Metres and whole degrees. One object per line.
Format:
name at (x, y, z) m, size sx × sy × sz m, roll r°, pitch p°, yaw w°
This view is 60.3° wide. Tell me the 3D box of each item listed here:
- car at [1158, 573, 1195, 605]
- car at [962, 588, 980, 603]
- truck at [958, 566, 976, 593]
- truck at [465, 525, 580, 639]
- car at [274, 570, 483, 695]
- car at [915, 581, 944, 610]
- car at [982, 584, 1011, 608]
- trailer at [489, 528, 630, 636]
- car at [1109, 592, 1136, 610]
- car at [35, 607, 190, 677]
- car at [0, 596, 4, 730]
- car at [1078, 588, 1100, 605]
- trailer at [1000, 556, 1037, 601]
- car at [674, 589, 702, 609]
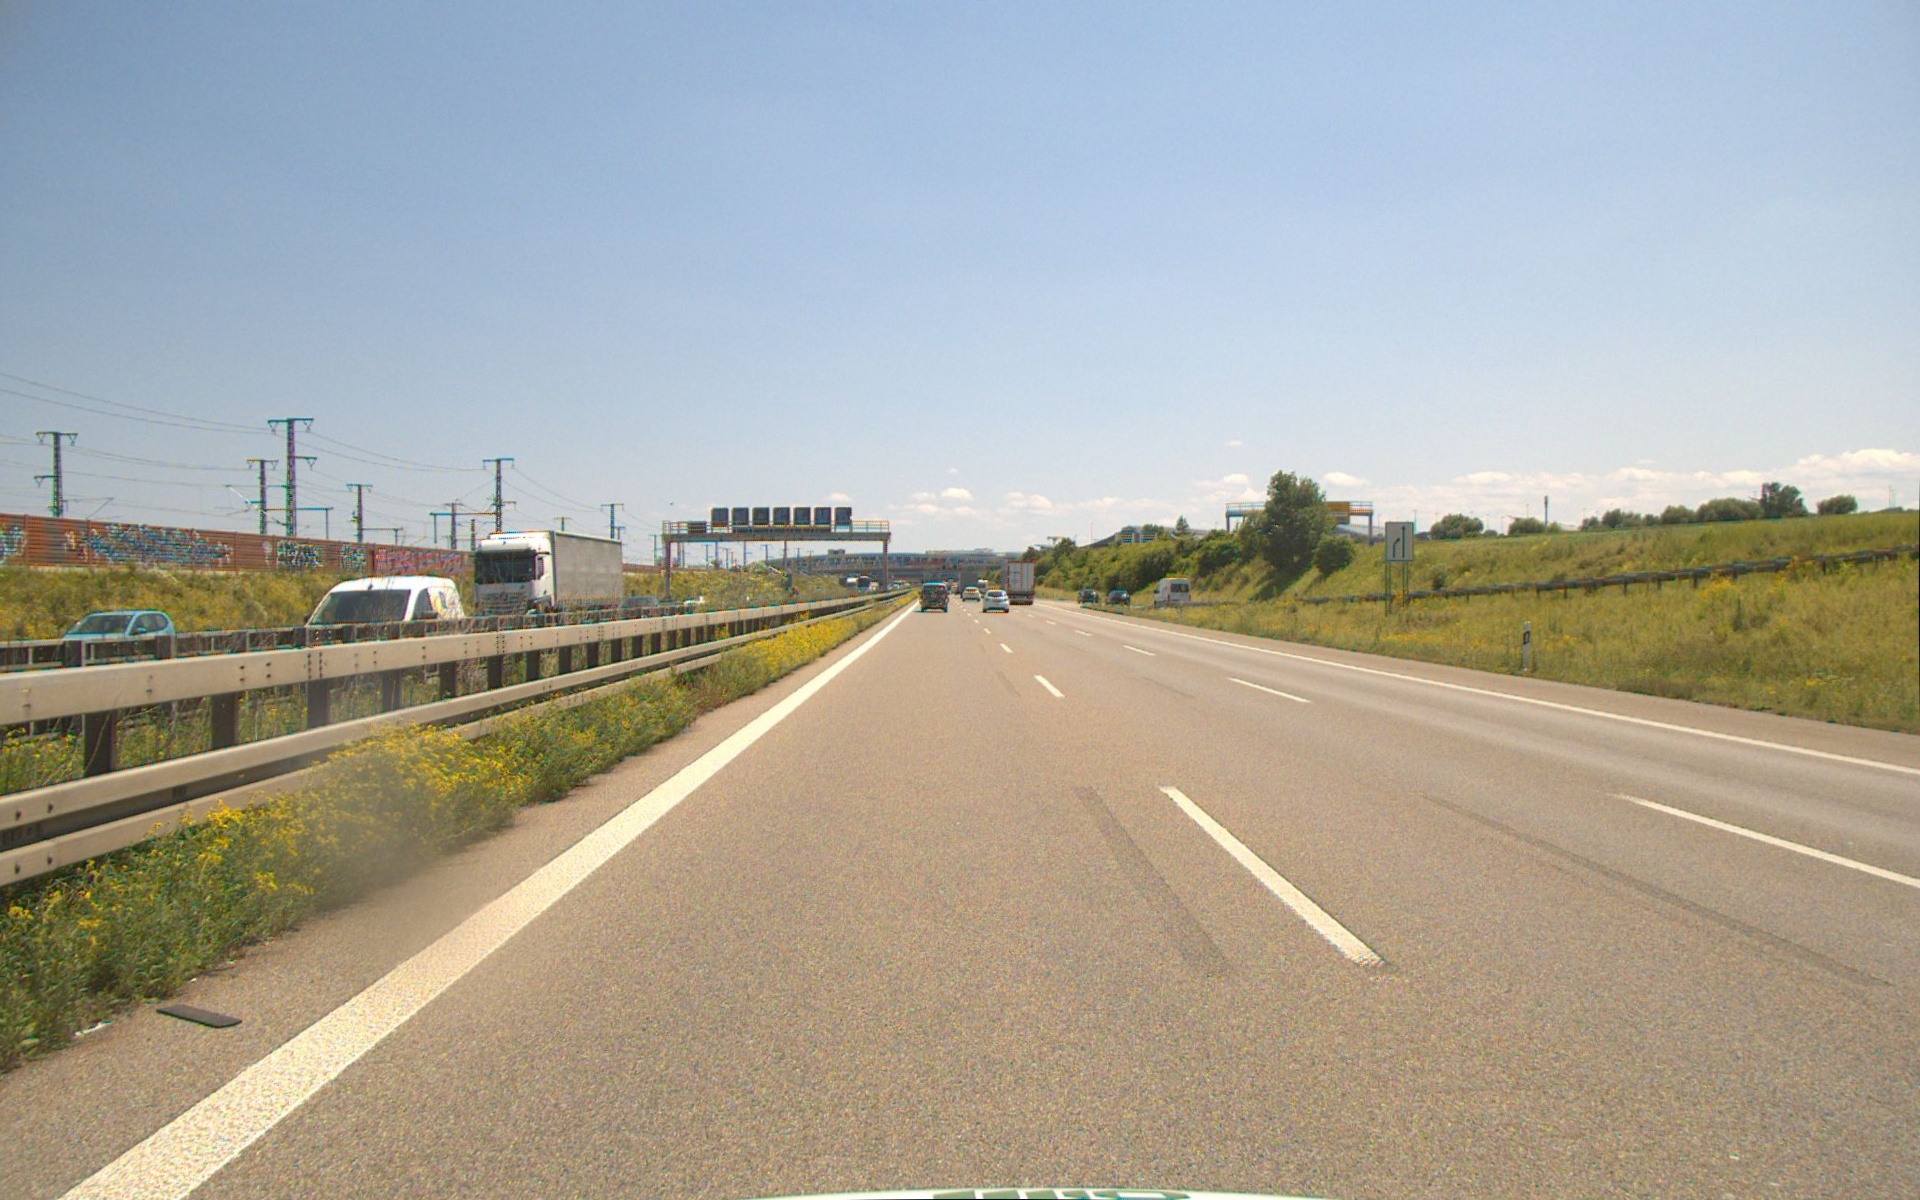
car at (17.969, -0.951, 137.468) m, size 2.228 × 2.572 × 5.398 m, roll 1°, pitch 0°, yaw -2°
car at (1.199, -0.515, 176.177) m, size 1.842 × 1.553 × 4.000 m, roll 1°, pitch 0°, yaw 0°
truck at (0.920, -2.730, 218.735) m, size 2.307 × 3.476 × 6.056 m, roll 0°, pitch 0°, yaw -1°
truck at (-16.816, -0.687, 64.003) m, size 2.674 × 4.143 × 6.380 m, roll -1°, pitch 0°, yaw 0°
car at (-9.184, 0.462, 26.536) m, size 1.779 × 1.816 × 4.538 m, roll 0°, pitch 0°, yaw 0°
car at (-1.950, -0.266, 107.050) m, size 1.842 × 1.806 × 3.999 m, roll 0°, pitch 0°, yaw -1°
car at (2.422, -0.232, 109.557) m, size 1.841 × 1.553 × 4.001 m, roll 1°, pitch 0°, yaw 2°
trailer at (-16.816, -0.728, 70.684) m, size 2.674 × 4.145 × 13.529 m, roll -1°, pitch 0°, yaw 0°
car at (15.426, 0.106, 156.989) m, size 1.954 × 1.534 × 3.997 m, roll 2°, pitch -1°, yaw -3°
car at (-20.095, 0.954, 39.388) m, size 1.718 × 1.546 × 3.836 m, roll 0°, pitch 0°, yaw 0°
car at (-12.898, 0.802, 18.592) m, size 1.779 × 1.676 × 4.362 m, roll 0°, pitch 0°, yaw 0°
car at (13.809, -0.380, 177.052) m, size 1.953 × 1.624 × 3.999 m, roll 2°, pitch -1°, yaw -1°
trailer at (5.482, -2.012, 156.650) m, size 3.112 × 4.130 × 9.438 m, roll -1°, pitch 0°, yaw -1°
car at (-22.082, -0.065, 134.238) m, size 1.685 × 1.571 × 3.809 m, roll 0°, pitch 0°, yaw 0°
